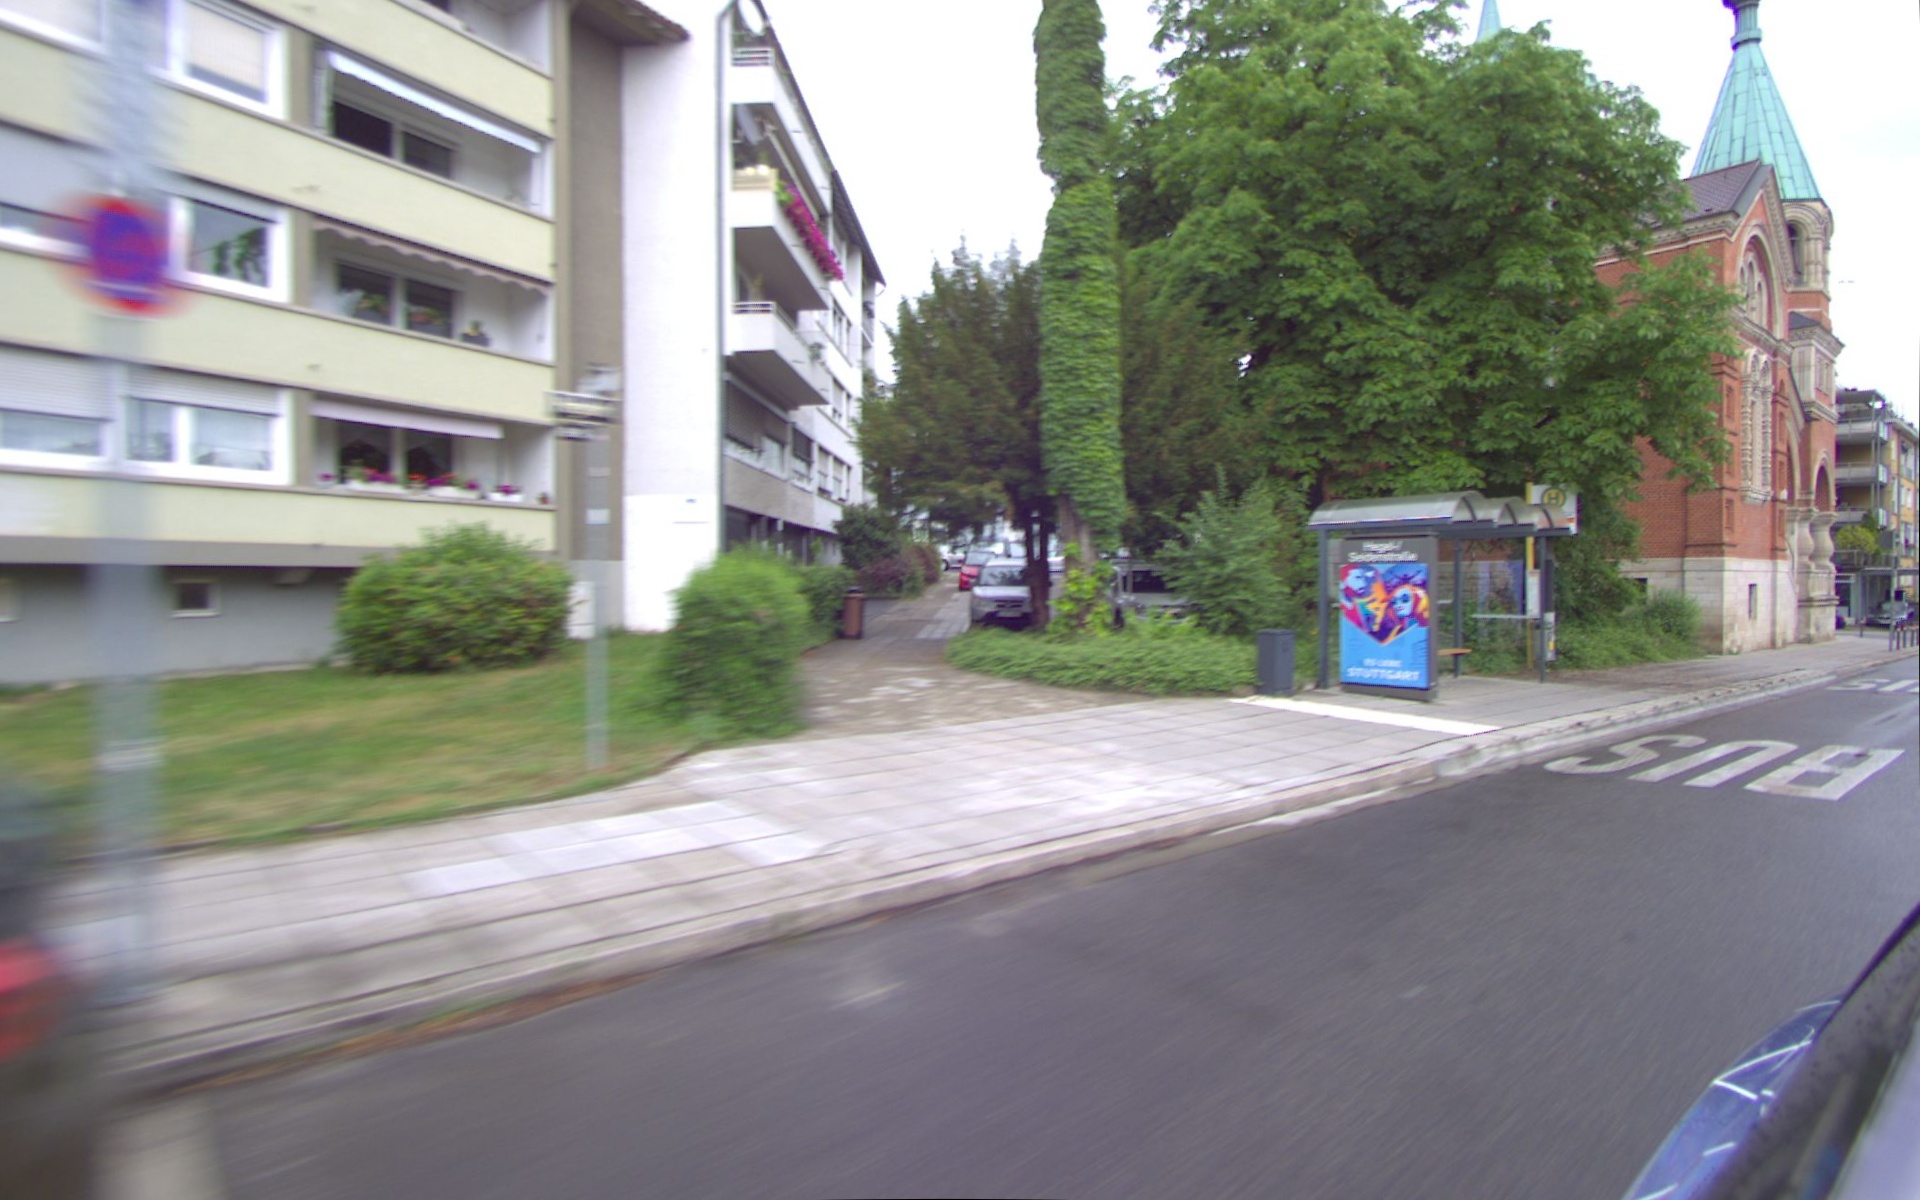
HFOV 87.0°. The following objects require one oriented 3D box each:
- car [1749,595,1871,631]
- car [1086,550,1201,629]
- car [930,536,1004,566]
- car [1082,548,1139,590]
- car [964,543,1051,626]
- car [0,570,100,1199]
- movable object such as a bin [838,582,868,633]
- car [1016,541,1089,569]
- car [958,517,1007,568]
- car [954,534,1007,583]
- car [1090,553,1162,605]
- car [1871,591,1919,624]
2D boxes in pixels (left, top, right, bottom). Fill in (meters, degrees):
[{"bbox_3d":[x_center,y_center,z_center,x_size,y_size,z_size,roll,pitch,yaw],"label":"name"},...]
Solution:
[{"bbox_3d":[43.540,0.640,51.925,4.370,1.475,2.000,4,0,5],"label":"car"},{"bbox_3d":[4.023,-0.253,22.881,1.807,1.578,4.384,-1,1,1],"label":"car"},{"bbox_3d":[0.415,-2.757,57.156,3.934,1.550,1.824,1,0,9],"label":"car"},{"bbox_3d":[5.594,-1.136,38.051,1.712,1.463,3.834,-1,1,2],"label":"car"},{"bbox_3d":[1.083,-0.365,23.280,1.808,1.716,4.200,-1,1,2],"label":"car"},{"bbox_3d":[-3.600,0.720,0.692,4.565,1.506,1.860,0,0,-42],"label":"car"},{"bbox_3d":[-2.236,0.148,21.149,0.577,1.036,0.534,-1,0,-8],"label":"movable object such as a bin"},{"bbox_3d":[5.201,-2.510,56.639,3.935,1.424,1.824,1,0,10],"label":"car"},{"bbox_3d":[0.941,-2.405,43.399,1.962,2.002,4.000,-1,1,1],"label":"car"},{"bbox_3d":[0.728,-1.494,37.902,1.807,1.716,4.203,-1,1,-1],"label":"car"},{"bbox_3d":[5.348,-0.673,32.992,1.808,1.583,3.994,-1,1,2],"label":"car"},{"bbox_3d":[52.332,0.392,56.279,4.371,1.521,1.858,-2,5,-40],"label":"car"}]
